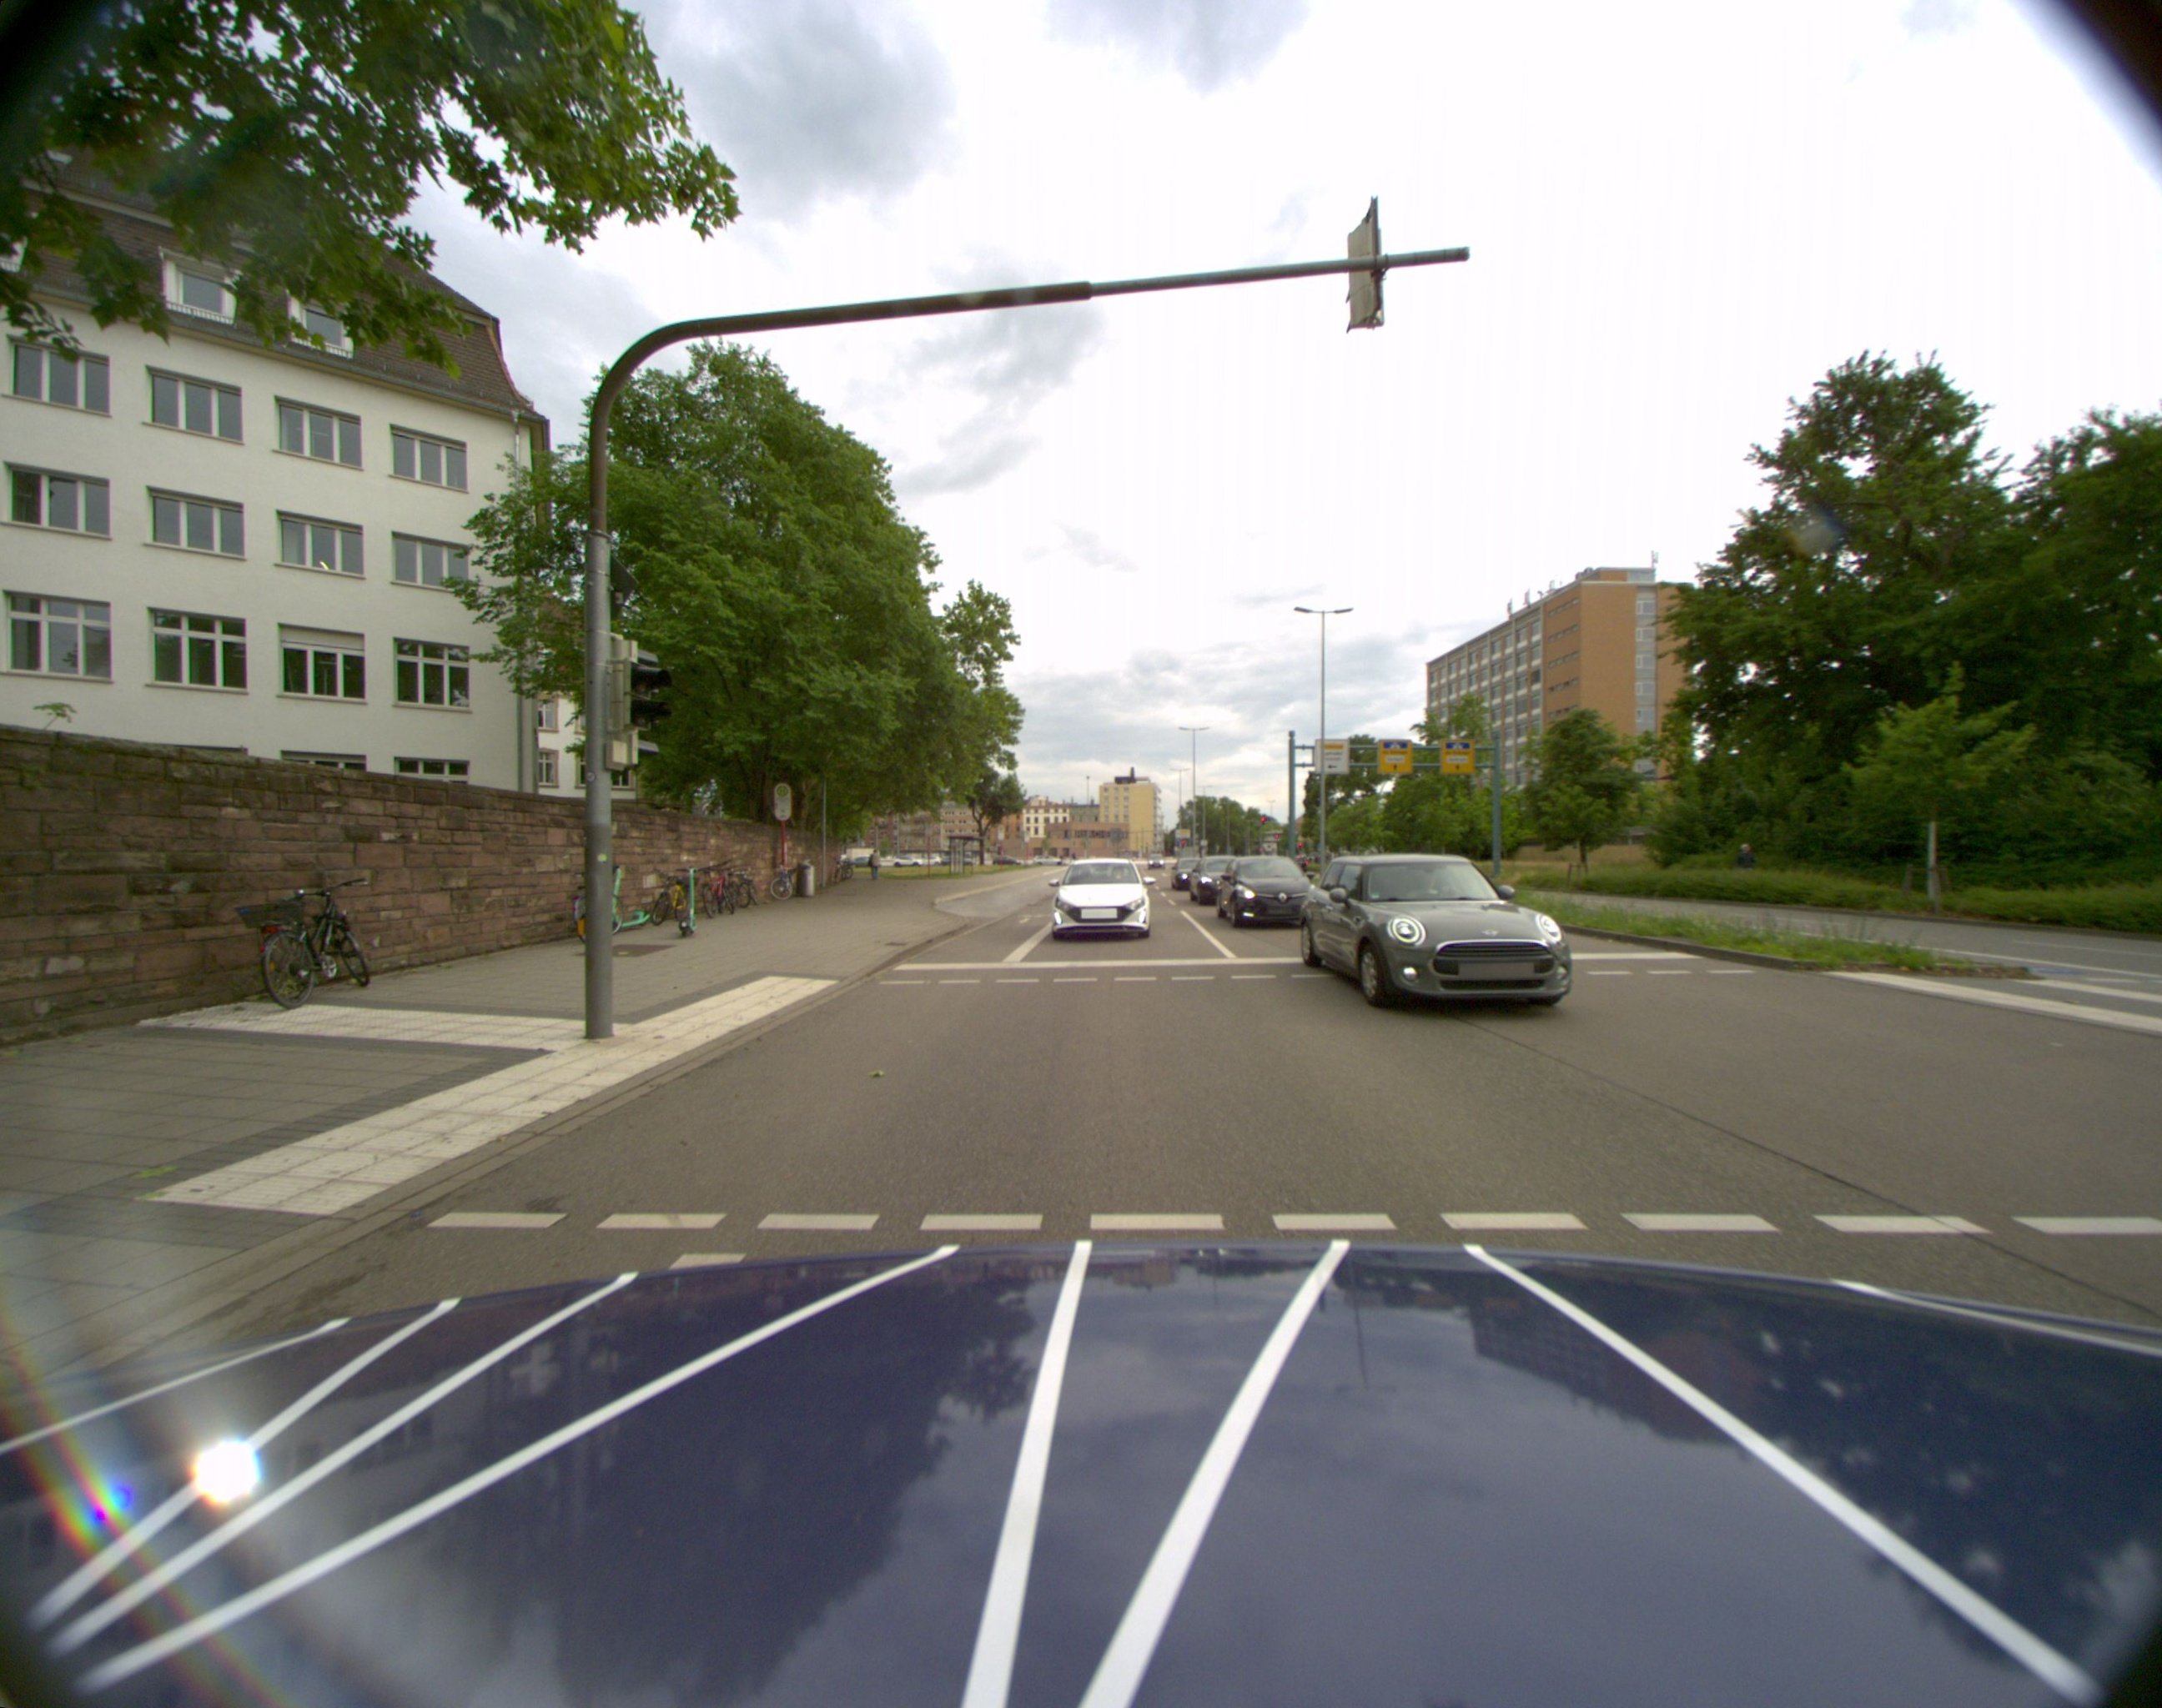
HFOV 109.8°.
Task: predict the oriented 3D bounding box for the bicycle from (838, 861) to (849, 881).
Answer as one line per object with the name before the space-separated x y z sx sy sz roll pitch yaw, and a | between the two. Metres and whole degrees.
bicycle | -12.006 0.856 38.416 0.482 0.934 1.896 0 0 -19

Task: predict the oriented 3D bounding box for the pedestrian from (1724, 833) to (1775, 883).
pedestrian | 22.471 0.123 25.555 0.990 1.616 0.813 -2 1 1

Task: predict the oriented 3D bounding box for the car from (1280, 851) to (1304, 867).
car | 20.968 0.460 75.514 1.853 1.543 4.003 -1 0 10

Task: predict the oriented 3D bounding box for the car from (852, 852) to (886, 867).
car | -30.882 0.790 110.624 4.282 2.002 2.000 -2 1 -1

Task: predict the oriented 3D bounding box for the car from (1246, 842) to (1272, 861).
car | 17.929 -0.263 76.802 1.893 1.763 4.000 -2 1 3

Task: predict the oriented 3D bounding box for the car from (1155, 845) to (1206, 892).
car | 4.465 0.591 34.481 1.998 2.002 4.001 0 0 3

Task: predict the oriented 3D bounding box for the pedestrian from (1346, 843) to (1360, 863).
pedestrian | 27.729 -0.118 77.581 0.882 2.002 1.221 -2 1 -5

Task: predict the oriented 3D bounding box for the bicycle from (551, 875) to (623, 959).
bicycle | -7.662 0.928 11.859 0.386 1.137 1.939 -2 1 -17

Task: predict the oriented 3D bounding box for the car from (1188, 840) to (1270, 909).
car | 4.573 0.575 24.027 1.998 2.002 4.001 0 0 3

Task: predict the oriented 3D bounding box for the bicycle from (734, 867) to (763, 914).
bicycle | -8.712 0.925 19.944 0.339 1.137 1.676 -2 1 -12

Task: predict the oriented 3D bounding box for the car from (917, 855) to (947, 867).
car | -21.690 0.963 110.710 3.998 1.760 1.999 0 1 -3

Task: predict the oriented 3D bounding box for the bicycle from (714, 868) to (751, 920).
bicycle | -8.292 0.919 18.127 0.339 1.137 1.939 -2 0 -12

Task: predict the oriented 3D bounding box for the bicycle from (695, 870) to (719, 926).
bicycle | -8.138 0.922 16.504 0.387 1.137 1.937 -2 1 -27

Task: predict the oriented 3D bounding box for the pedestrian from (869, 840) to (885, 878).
pedestrian | -11.050 0.243 41.138 0.784 2.002 0.888 2 1 -14

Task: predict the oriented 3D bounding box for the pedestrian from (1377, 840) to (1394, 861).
pedestrian | 28.525 -0.289 71.119 1.137 1.908 1.163 -2 1 6

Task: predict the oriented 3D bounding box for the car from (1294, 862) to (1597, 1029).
car | 3.521 0.772 8.132 1.625 1.310 3.706 0 0 3

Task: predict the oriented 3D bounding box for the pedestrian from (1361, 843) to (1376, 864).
pedestrian | 28.775 -0.045 76.129 0.882 2.002 1.221 -2 1 -5

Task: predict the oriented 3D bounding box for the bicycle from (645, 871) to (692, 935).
bicycle | -8.112 0.928 15.003 0.386 1.137 1.939 -2 1 -17

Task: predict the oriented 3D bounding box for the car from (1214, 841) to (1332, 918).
car | 3.971 0.467 16.348 1.731 1.450 4.001 0 0 3

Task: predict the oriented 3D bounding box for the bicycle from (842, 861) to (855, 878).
bicycle | -13.249 0.883 43.300 0.655 0.934 1.954 0 0 -19

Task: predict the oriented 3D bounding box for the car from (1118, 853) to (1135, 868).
car | 4.456 0.662 74.774 1.605 1.360 3.579 -3 0 2

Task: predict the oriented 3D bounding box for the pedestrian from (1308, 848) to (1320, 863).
pedestrian | 32.274 0.236 105.142 1.223 2.002 1.520 -2 1 3

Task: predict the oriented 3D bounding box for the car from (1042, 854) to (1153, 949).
car | 0.387 0.777 14.440 1.813 1.533 4.001 0 0 3

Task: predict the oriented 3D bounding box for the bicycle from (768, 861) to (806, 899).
bicycle | -8.968 0.776 23.272 0.478 1.070 2.082 0 0 -4

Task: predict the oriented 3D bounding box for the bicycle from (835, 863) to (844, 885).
bicycle | -10.865 0.882 34.156 0.365 0.934 1.638 0 1 -19

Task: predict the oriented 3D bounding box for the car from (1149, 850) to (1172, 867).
car | 7.979 0.435 76.370 1.998 1.536 4.000 -2 0 2
